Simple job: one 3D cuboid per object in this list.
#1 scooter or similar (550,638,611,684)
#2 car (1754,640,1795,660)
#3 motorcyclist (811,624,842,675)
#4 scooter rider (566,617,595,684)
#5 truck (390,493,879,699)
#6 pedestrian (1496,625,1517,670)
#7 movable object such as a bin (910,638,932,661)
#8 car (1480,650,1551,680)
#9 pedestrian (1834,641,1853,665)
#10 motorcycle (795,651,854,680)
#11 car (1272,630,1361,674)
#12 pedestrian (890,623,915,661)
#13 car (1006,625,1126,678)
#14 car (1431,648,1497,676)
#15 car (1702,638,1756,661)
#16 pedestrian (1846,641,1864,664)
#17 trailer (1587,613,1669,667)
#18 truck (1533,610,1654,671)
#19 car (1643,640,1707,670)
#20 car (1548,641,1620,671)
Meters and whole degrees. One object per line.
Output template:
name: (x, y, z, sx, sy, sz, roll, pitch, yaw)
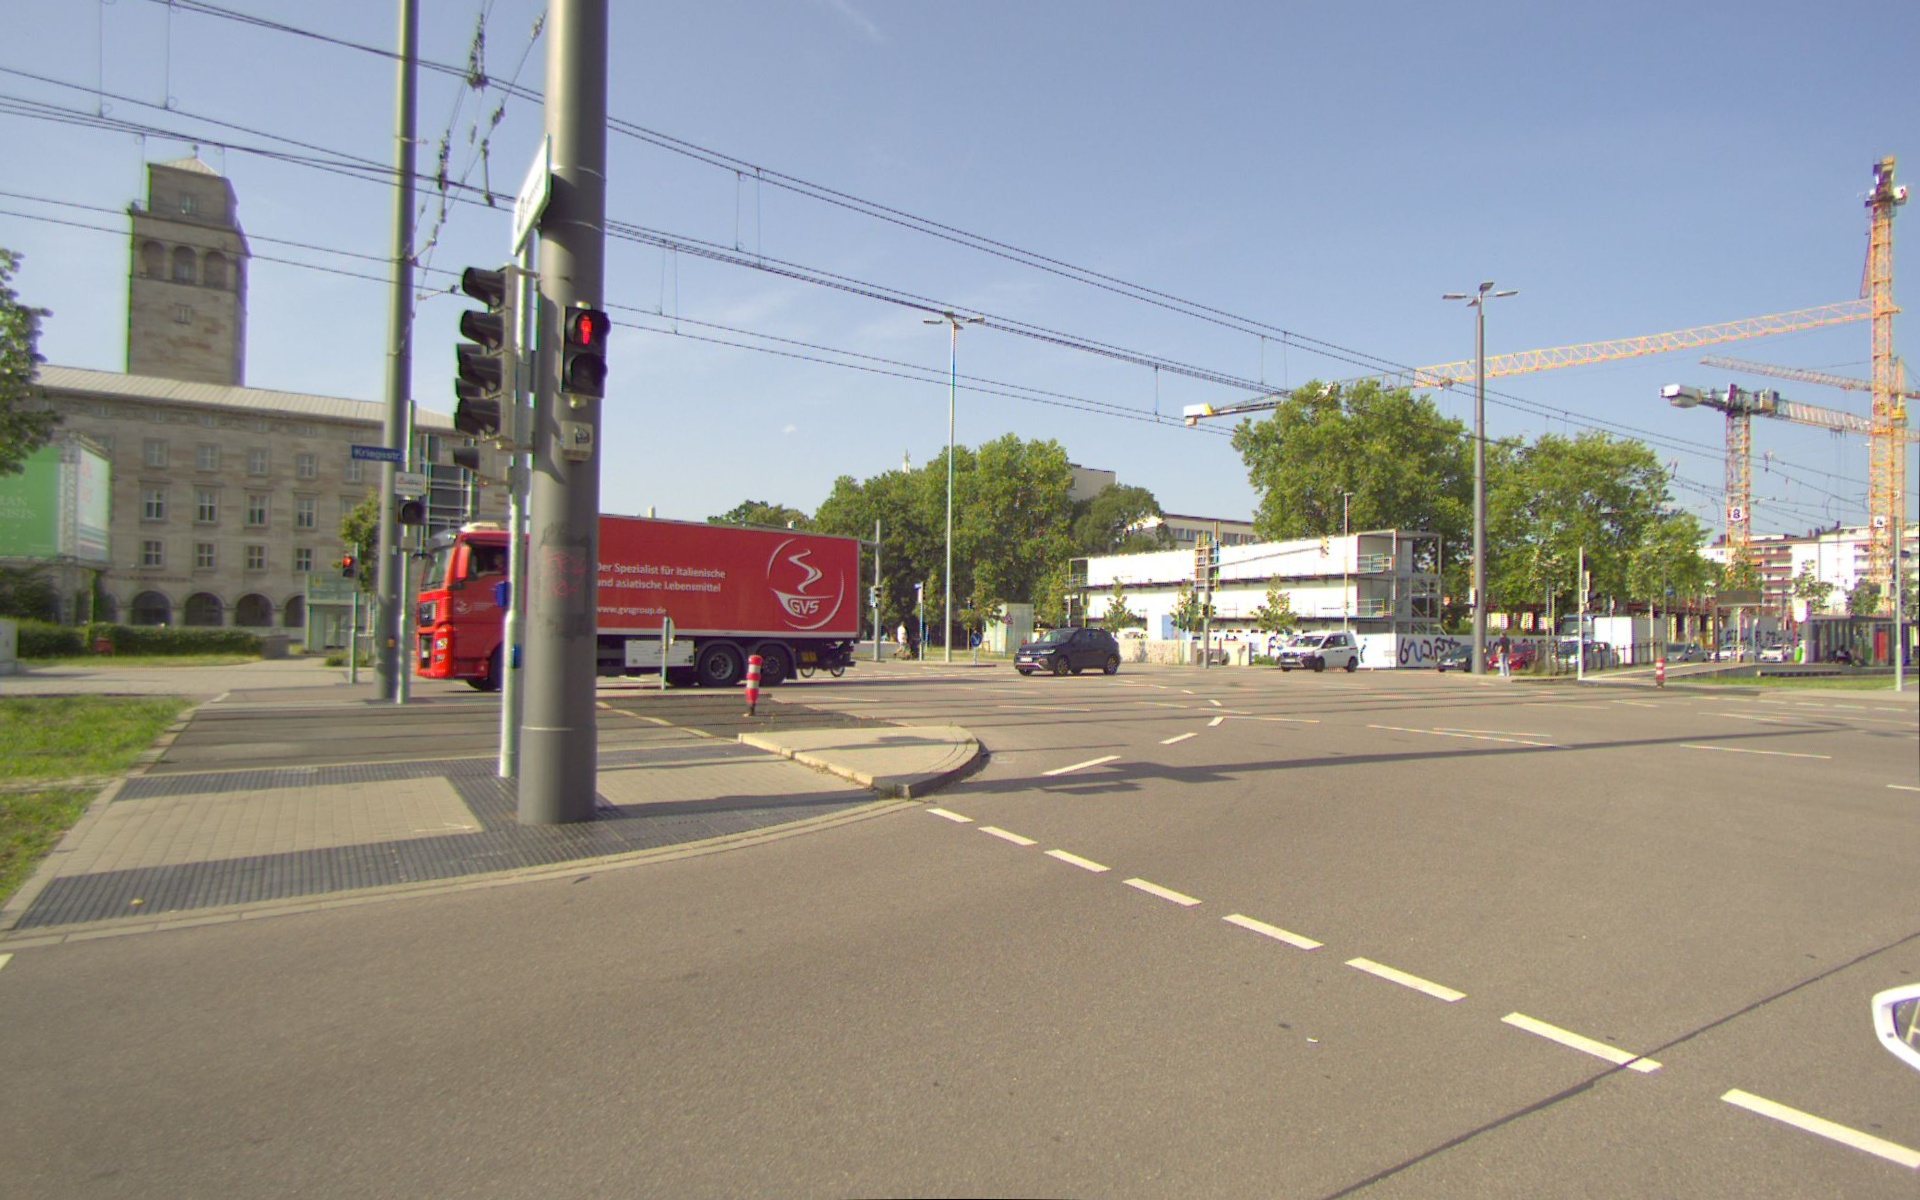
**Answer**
scooter or similar: (-9.907, 1.570, 26.231, 1.372, 1.162, 0.534, 2, -2, -39)
car: (65.193, 4.012, 80.387, 3.397, 1.483, 1.587, 2, -2, -33)
motorcyclist: (-4.099, 1.505, 30.915, 0.854, 1.548, 0.387, 2, -2, -41)
scooter rider: (-9.907, 1.312, 26.211, 0.545, 1.720, 0.533, 2, -1, -38)
truck: (-7.007, 0.094, 23.163, 10.331, 3.859, 2.949, 2, -2, -38)
pedestrian: (20.781, 1.792, 38.189, 0.630, 1.698, 0.370, 1, -1, -17)
movable object such as a bin: (-1.845, 2.340, 47.450, 0.897, 1.027, 0.561, 2, -2, -30)
car: (27.070, 3.145, 48.943, 3.665, 1.379, 1.708, 2, -1, -38)
pedestrian: (48.737, 2.916, 55.424, 0.587, 1.317, 0.675, 2, -2, -37)
motorcycle: (-4.145, 2.002, 30.905, 1.808, 0.844, 0.514, 2, -2, -41)
car: (15.746, 2.269, 44.253, 4.481, 1.812, 1.603, 2, -2, -40)
pedestrian: (-2.683, 1.959, 46.982, 0.994, 1.756, 0.557, 2, -1, -30)
car: (3.504, 1.669, 32.875, 3.968, 1.622, 1.626, 2, -2, -41)
car: (27.072, 3.294, 53.888, 4.388, 1.365, 1.582, 2, -2, -40)
car: (57.626, 3.713, 75.262, 4.566, 1.602, 1.782, 2, -2, -32)
pedestrian: (50.937, 2.985, 57.151, 0.587, 1.317, 0.675, 2, -2, -37)
trailer: (37.188, 2.218, 55.864, 4.970, 2.818, 2.032, 2, 0, -34)
truck: (40.416, 2.556, 63.974, 8.790, 3.634, 3.006, 2, -2, -32)
car: (42.474, 3.242, 59.640, 4.107, 1.684, 1.710, 2, -1, -33)
car: (32.464, 2.898, 52.212, 4.359, 1.489, 1.632, 2, -2, -35)
